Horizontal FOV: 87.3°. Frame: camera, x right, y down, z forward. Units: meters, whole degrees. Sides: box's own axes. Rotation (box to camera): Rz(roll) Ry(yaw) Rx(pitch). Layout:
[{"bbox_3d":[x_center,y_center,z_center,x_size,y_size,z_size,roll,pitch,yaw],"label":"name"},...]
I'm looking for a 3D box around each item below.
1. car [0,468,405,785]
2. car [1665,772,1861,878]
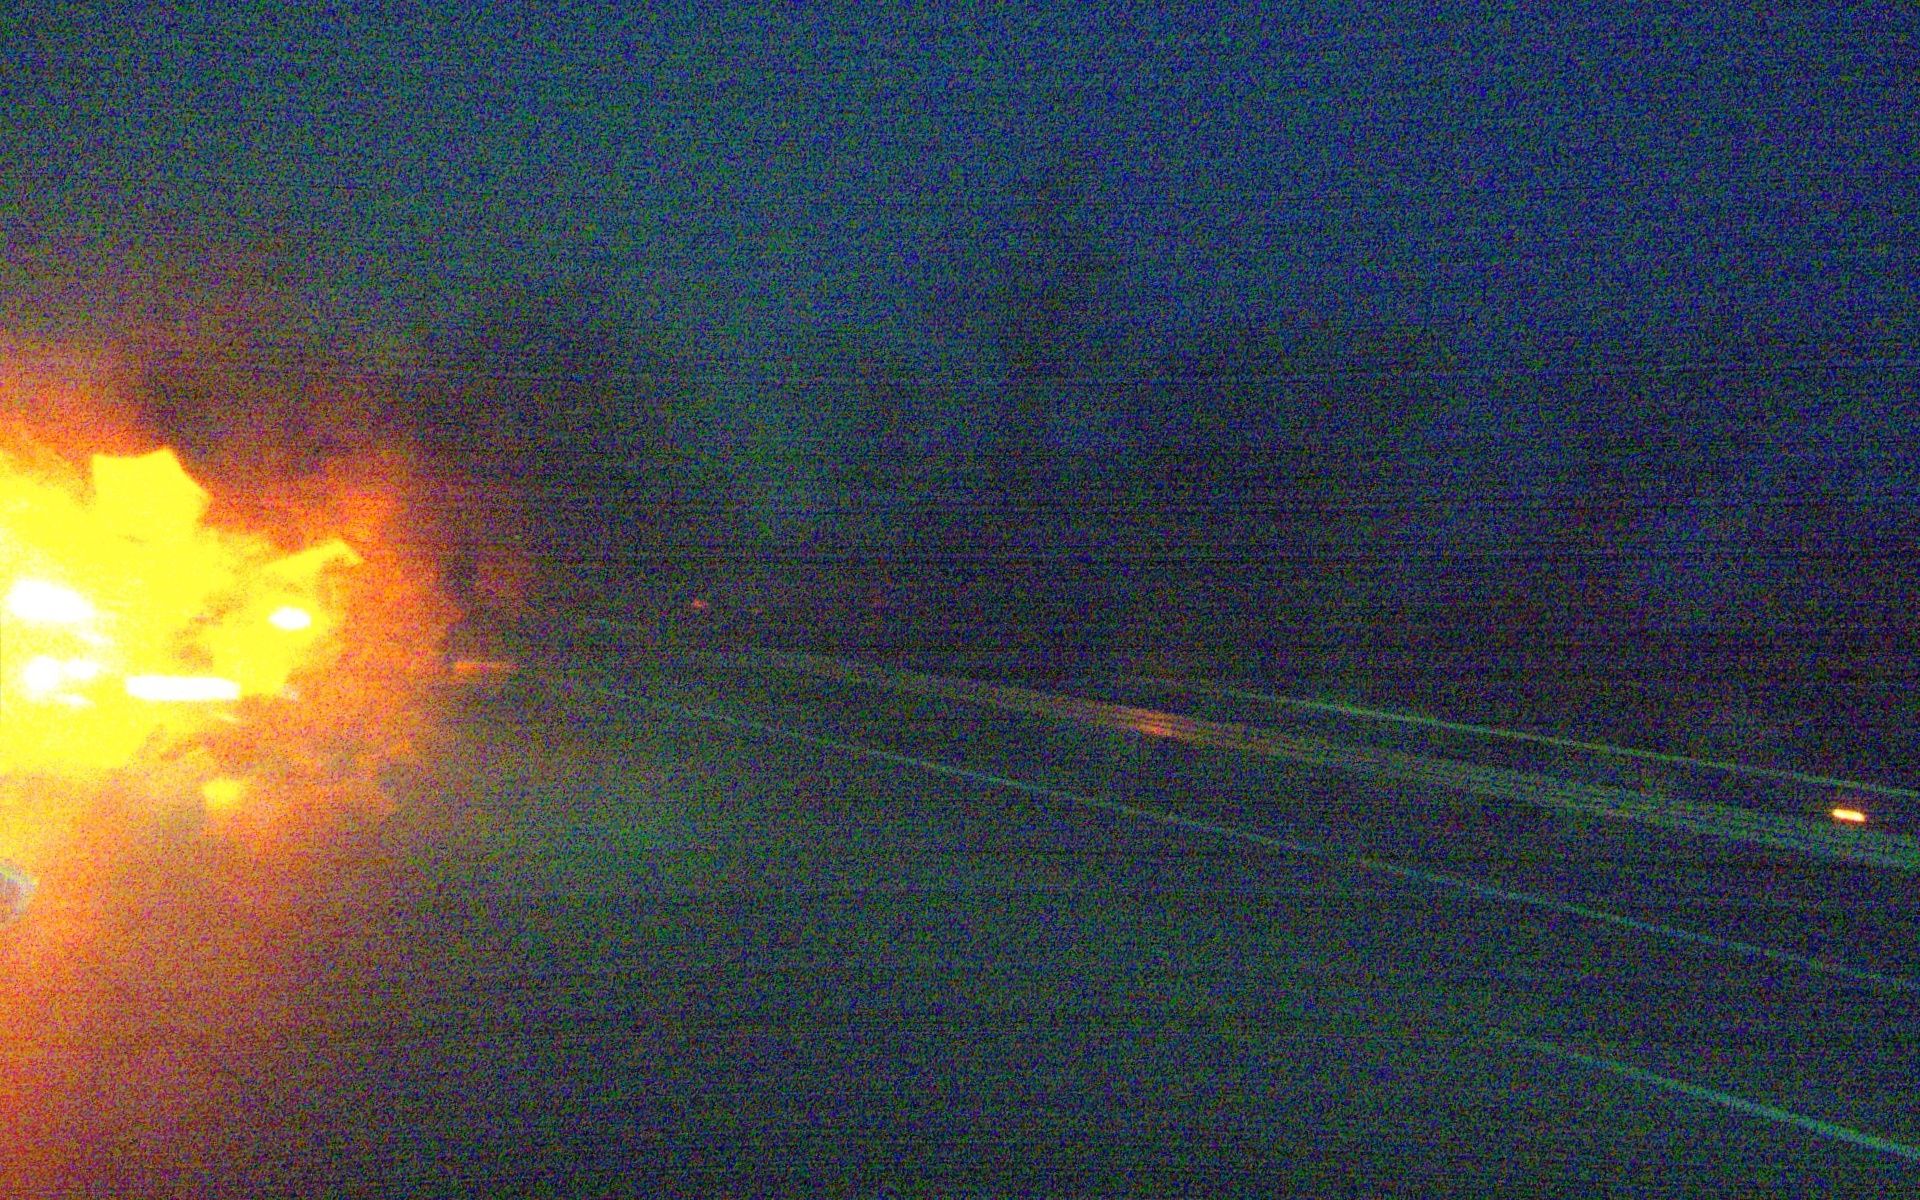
[{"bbox_3d":[-6.162,0.018,7.092,4.183,1.636,1.806,7,-2,28],"label":"car"},{"bbox_3d":[23.163,6.473,29.104,2.228,2.034,3.954,13,-4,-41],"label":"car"}]
